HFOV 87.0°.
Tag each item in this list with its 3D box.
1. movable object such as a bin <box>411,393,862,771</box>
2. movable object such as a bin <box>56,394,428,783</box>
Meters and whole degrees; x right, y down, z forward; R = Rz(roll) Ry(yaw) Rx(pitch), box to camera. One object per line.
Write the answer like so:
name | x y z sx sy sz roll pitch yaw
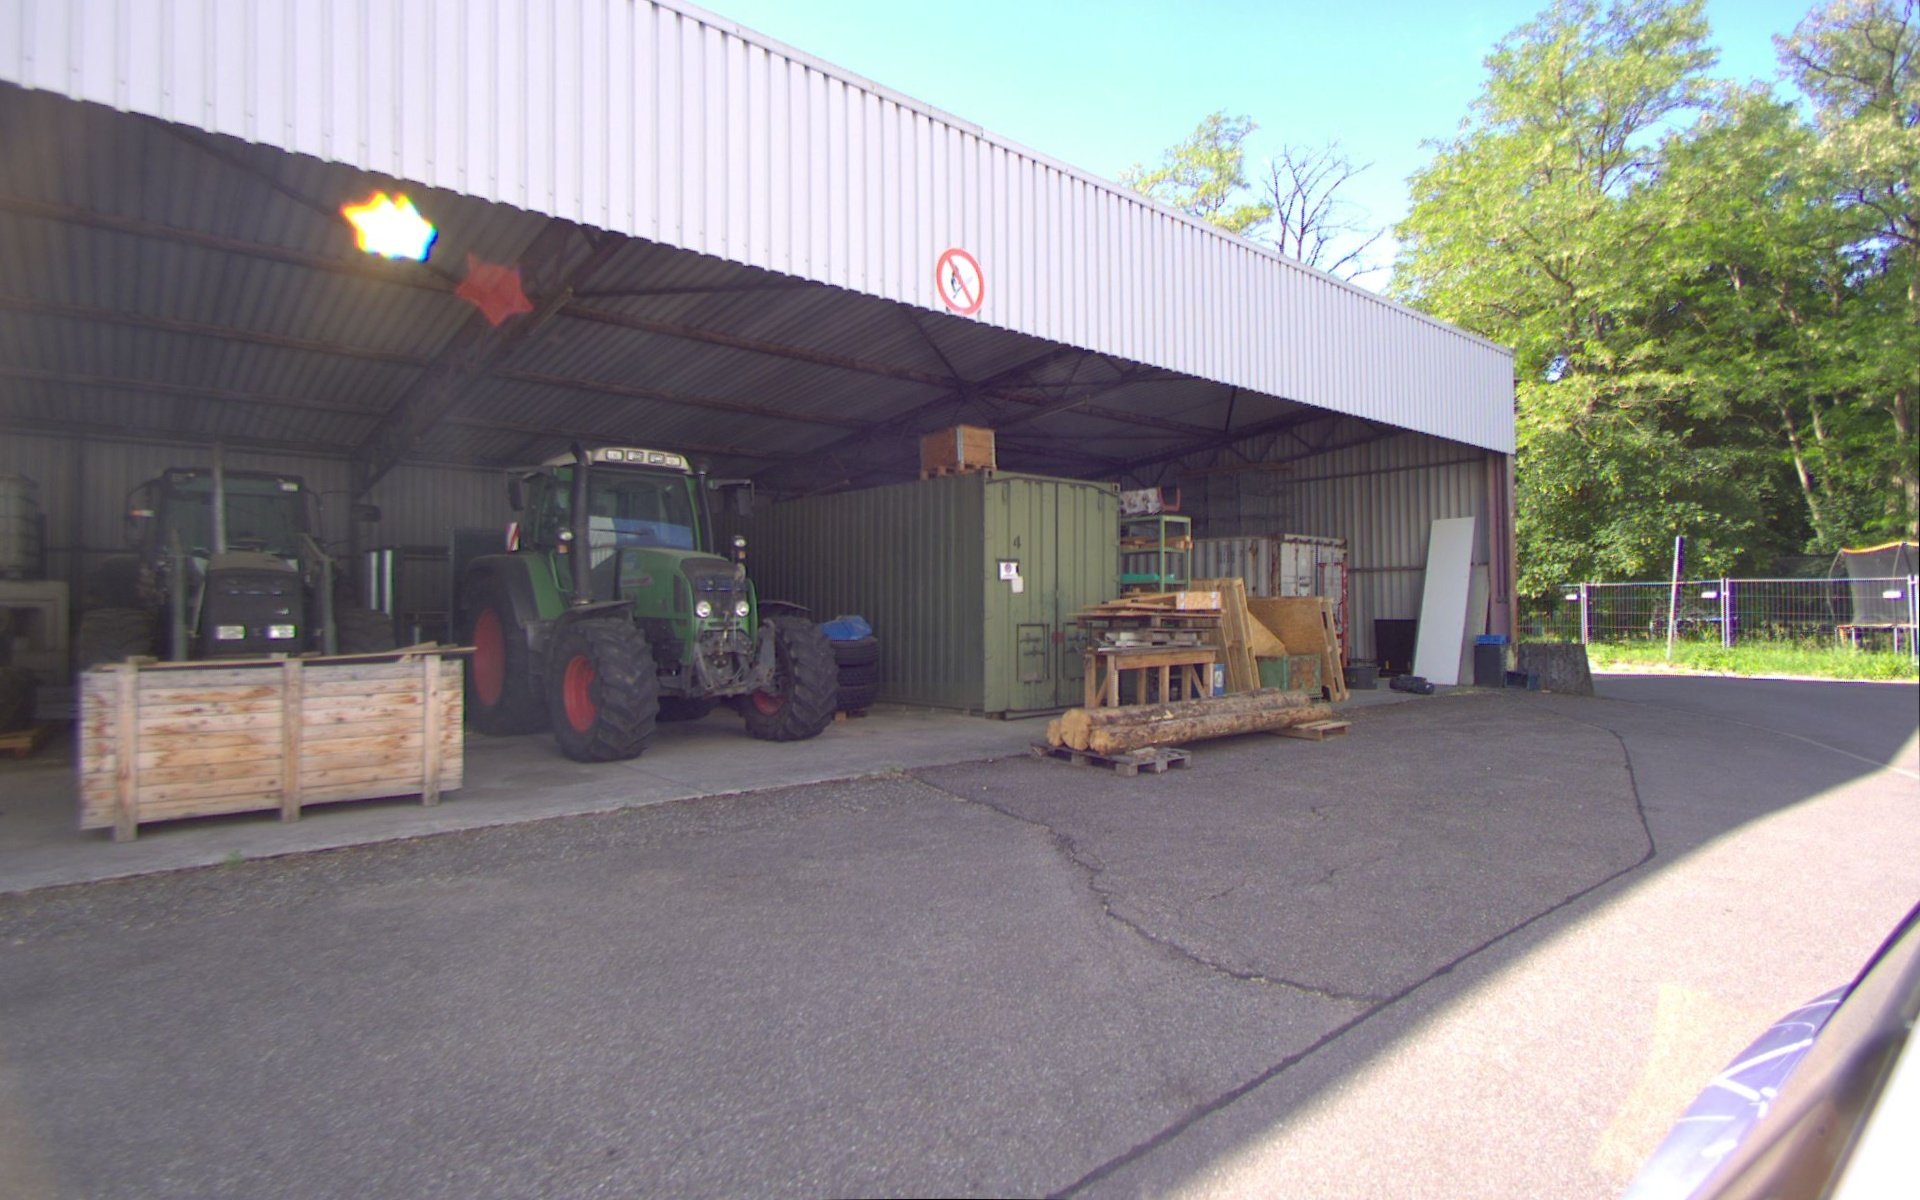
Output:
movable object such as a bin | -3.851 -0.131 11.086 2.770 2.962 5.845 0 0 -39
movable object such as a bin | -7.143 -0.075 10.011 2.452 2.867 4.535 1 -1 -39
